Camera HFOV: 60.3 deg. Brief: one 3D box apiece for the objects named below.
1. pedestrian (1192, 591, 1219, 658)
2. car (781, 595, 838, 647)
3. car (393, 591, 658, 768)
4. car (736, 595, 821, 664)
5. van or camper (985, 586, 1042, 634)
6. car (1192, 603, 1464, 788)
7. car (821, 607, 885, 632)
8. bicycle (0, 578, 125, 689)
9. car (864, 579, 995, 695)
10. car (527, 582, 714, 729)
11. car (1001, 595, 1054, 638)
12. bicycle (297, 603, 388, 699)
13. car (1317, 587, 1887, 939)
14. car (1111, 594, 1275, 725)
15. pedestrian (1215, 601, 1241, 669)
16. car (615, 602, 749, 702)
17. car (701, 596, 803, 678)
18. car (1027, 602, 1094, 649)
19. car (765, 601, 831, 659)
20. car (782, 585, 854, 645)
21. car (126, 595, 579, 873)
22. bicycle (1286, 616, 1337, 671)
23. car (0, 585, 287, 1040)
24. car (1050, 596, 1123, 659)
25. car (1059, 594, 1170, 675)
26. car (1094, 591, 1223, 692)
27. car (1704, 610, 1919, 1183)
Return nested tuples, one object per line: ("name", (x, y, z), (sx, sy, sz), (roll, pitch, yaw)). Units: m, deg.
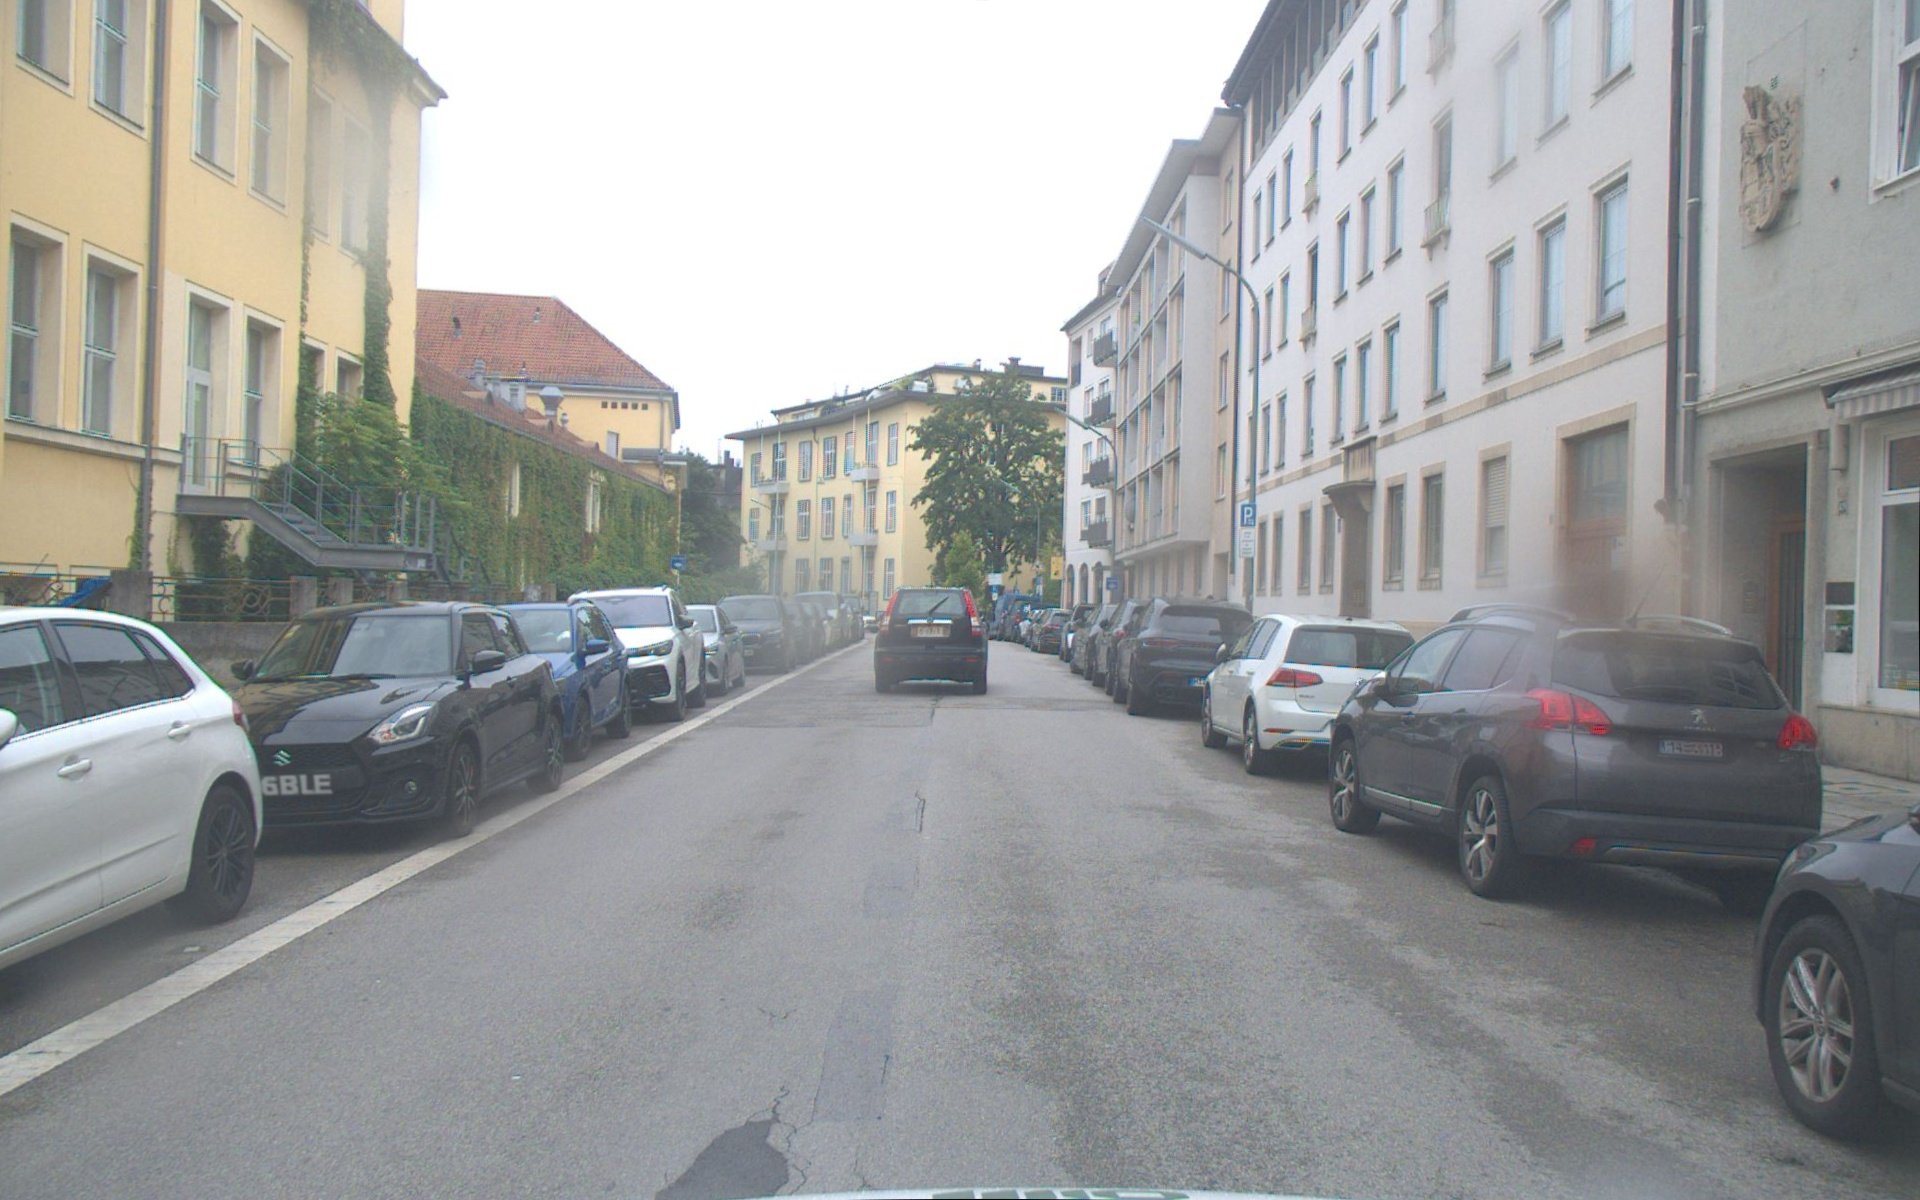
("pedestrian", (6.252, 0.628, 42.181), (0.584, 1.683, 0.630), (1, 0, -1))
("car", (-4.590, 0.621, 50.707), (1.547, 1.518, 3.728), (1, 0, -3))
("car", (-4.218, 0.698, 16.658), (1.646, 1.531, 3.973), (-1, 0, -1))
("car", (-4.377, 0.678, 40.380), (1.746, 1.565, 4.147), (1, 0, -3))
("van or camper", (2.604, 0.445, 81.613), (2.021, 2.270, 5.430), (1, 0, -6))
("car", (3.474, 0.831, 16.357), (1.658, 1.489, 4.082), (4, 0, -1))
("car", (-7.313, 1.330, 113.330), (3.909, 1.646, 1.998), (1, 0, 26))
("bicycle", (-10.960, 0.388, 19.816), (1.525, 1.209, 0.578), (4, -1, -2))
("car", (-0.444, 0.556, 27.327), (1.954, 1.724, 4.380), (1, 0, 1))
("car", (-4.238, 0.636, 21.263), (1.646, 1.662, 4.355), (-1, 0, -3))
("car", (3.067, 0.730, 76.088), (1.925, 1.848, 4.933), (1, 0, -3))
("bicycle", (-8.340, 0.667, 22.392), (0.565, 1.209, 1.561), (4, 0, 0))
("car", (3.572, 0.799, 10.083), (1.658, 1.611, 4.081), (4, 0, -3))
("car", (3.175, 0.760, 23.290), (1.742, 1.612, 4.330), (2, 0, 1))
("pedestrian", (6.436, 0.838, 39.728), (0.520, 1.612, 0.560), (1, 0, -1))
("car", (-4.415, 0.778, 26.722), (1.646, 1.451, 3.893), (-1, 0, -3))
("car", (-4.296, 0.726, 34.669), (1.746, 1.565, 4.193), (1, 0, -3))
("car", (3.272, 0.804, 54.568), (1.760, 1.445, 4.481), (1, 0, -2))
("car", (-4.428, 0.796, 45.634), (1.547, 1.481, 3.902), (2, 0, -3))
("car", (-4.744, 0.475, 55.750), (1.952, 1.908, 4.758), (1, 0, 0))
("car", (-3.871, 0.748, 11.293), (1.646, 1.522, 3.985), (-1, 0, -1))
("bicycle", (7.589, 0.925, 35.784), (0.645, 1.146, 2.028), (0, 0, 0))
("car", (-4.149, 0.748, 6.087), (1.688, 1.554, 4.086), (-2, 0, -1))
("car", (3.345, 0.702, 44.382), (1.637, 1.561, 3.881), (1, 0, 0))
("car", (3.188, 0.668, 34.991), (1.818, 1.571, 4.815), (1, 0, -1))
("car", (3.339, 0.657, 28.554), (1.742, 1.612, 4.271), (0, 0, 0))
("car", (3.327, 0.817, 3.510), (1.657, 1.476, 4.083), (4, 0, 1))
